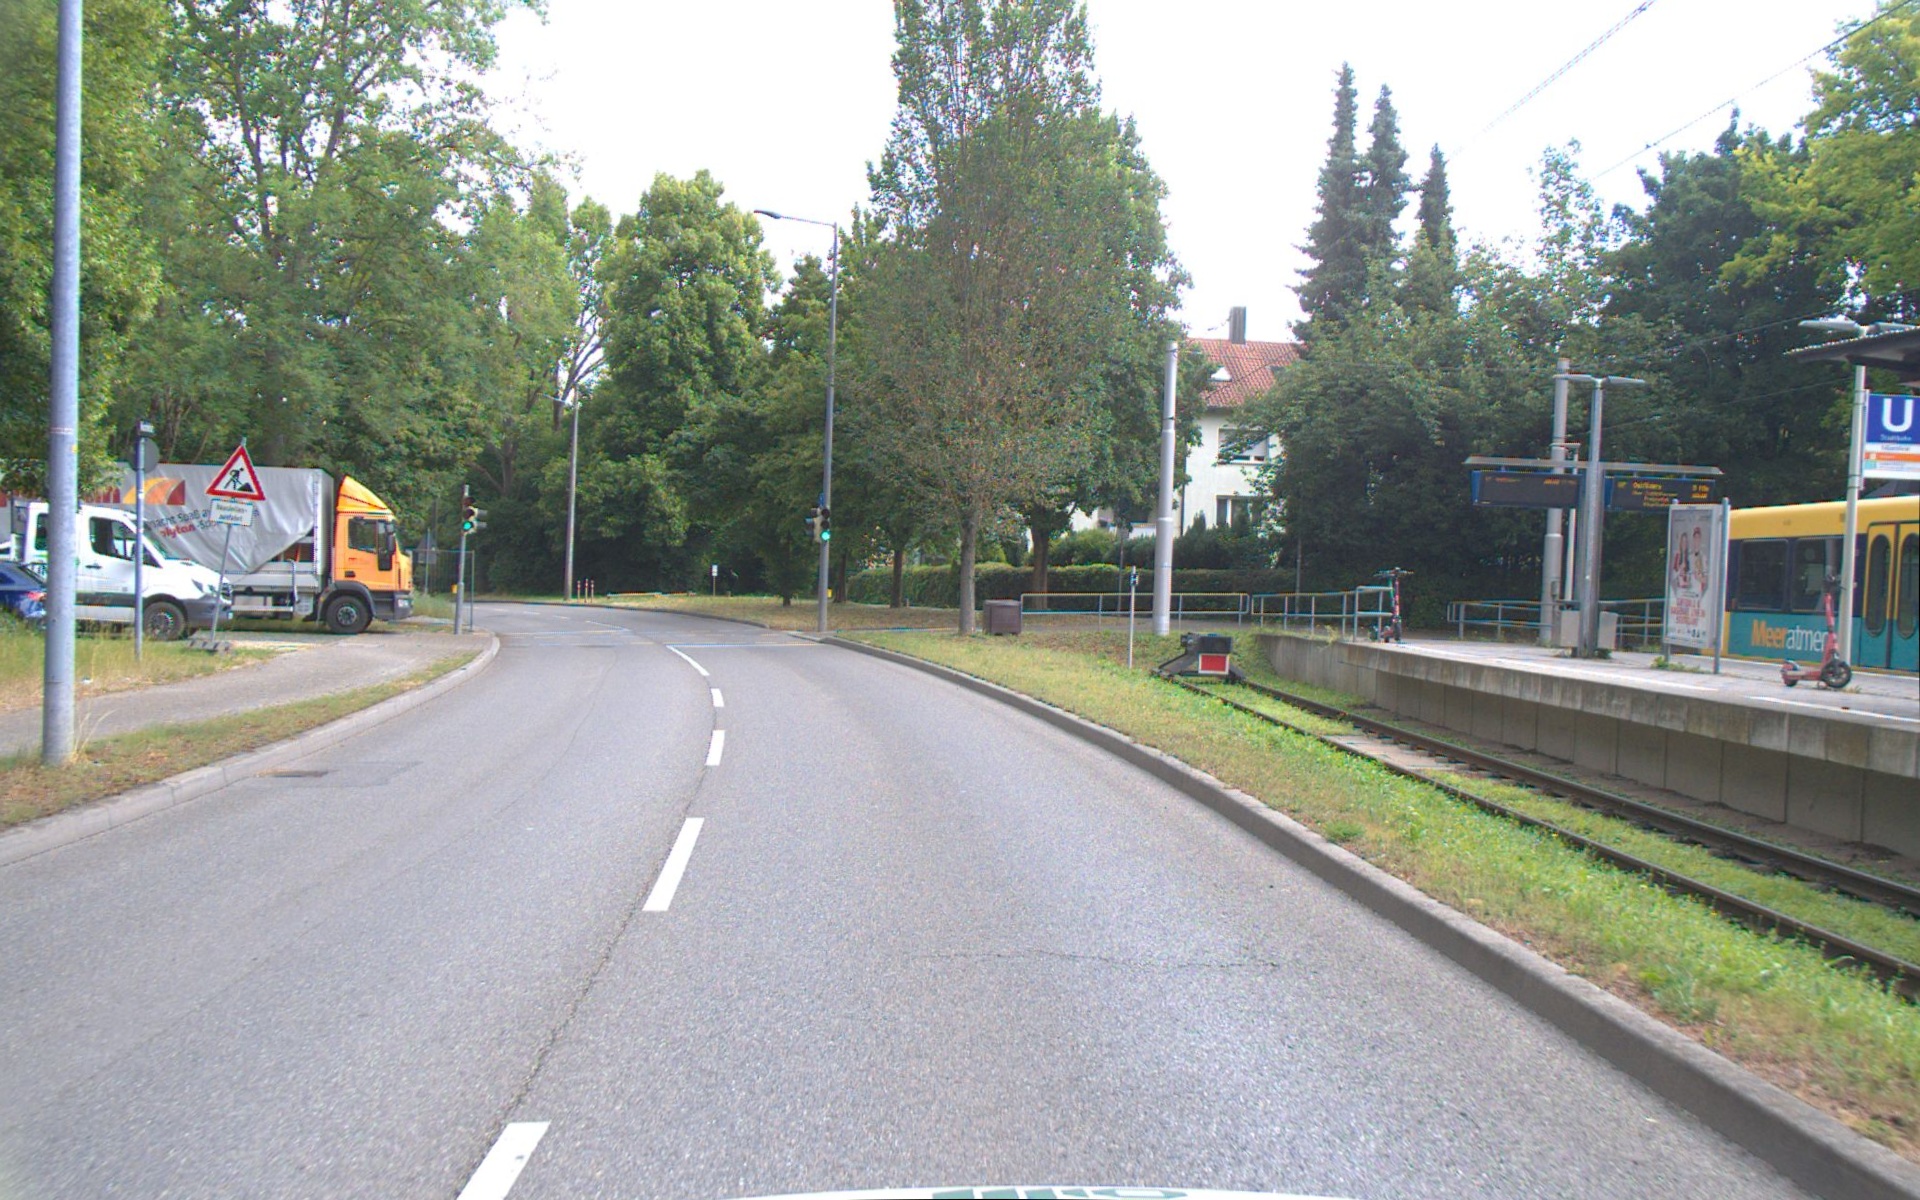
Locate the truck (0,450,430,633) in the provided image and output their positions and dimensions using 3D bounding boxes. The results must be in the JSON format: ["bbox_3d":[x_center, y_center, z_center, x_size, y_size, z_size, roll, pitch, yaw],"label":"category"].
[{"bbox_3d":[-16.598,-1.212,36.587,9.080,3.593,2.554,2,0,-16],"label":"truck"}]

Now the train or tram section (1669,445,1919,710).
[{"bbox_3d":[14.670,-0.183,20.341,2.757,3.650,19.508,3,1,-2],"label":"train or tram section"}]

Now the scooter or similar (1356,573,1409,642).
[{"bbox_3d":[7.950,0.143,31.145,0.422,1.275,1.250,1,-1,-14],"label":"scooter or similar"}]

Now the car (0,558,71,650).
[{"bbox_3d":[-15.782,0.034,25.017,3.934,1.350,1.704,2,-2,-24],"label":"car"}]

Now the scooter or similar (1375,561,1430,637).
[{"bbox_3d":[7.607,-0.011,28.454,0.422,1.275,1.251,1,-1,-10],"label":"scooter or similar"}]

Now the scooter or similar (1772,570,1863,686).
[{"bbox_3d":[9.692,0.298,18.721,0.361,1.264,1.146,2,1,-2],"label":"scooter or similar"}]

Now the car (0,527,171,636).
[{"bbox_3d":[-17.886,-0.398,32.578,3.925,1.942,1.773,3,0,-18],"label":"car"}]

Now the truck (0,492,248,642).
[{"bbox_3d":[-16.382,-0.618,29.741,6.287,2.458,2.113,3,-1,-18],"label":"truck"}]
